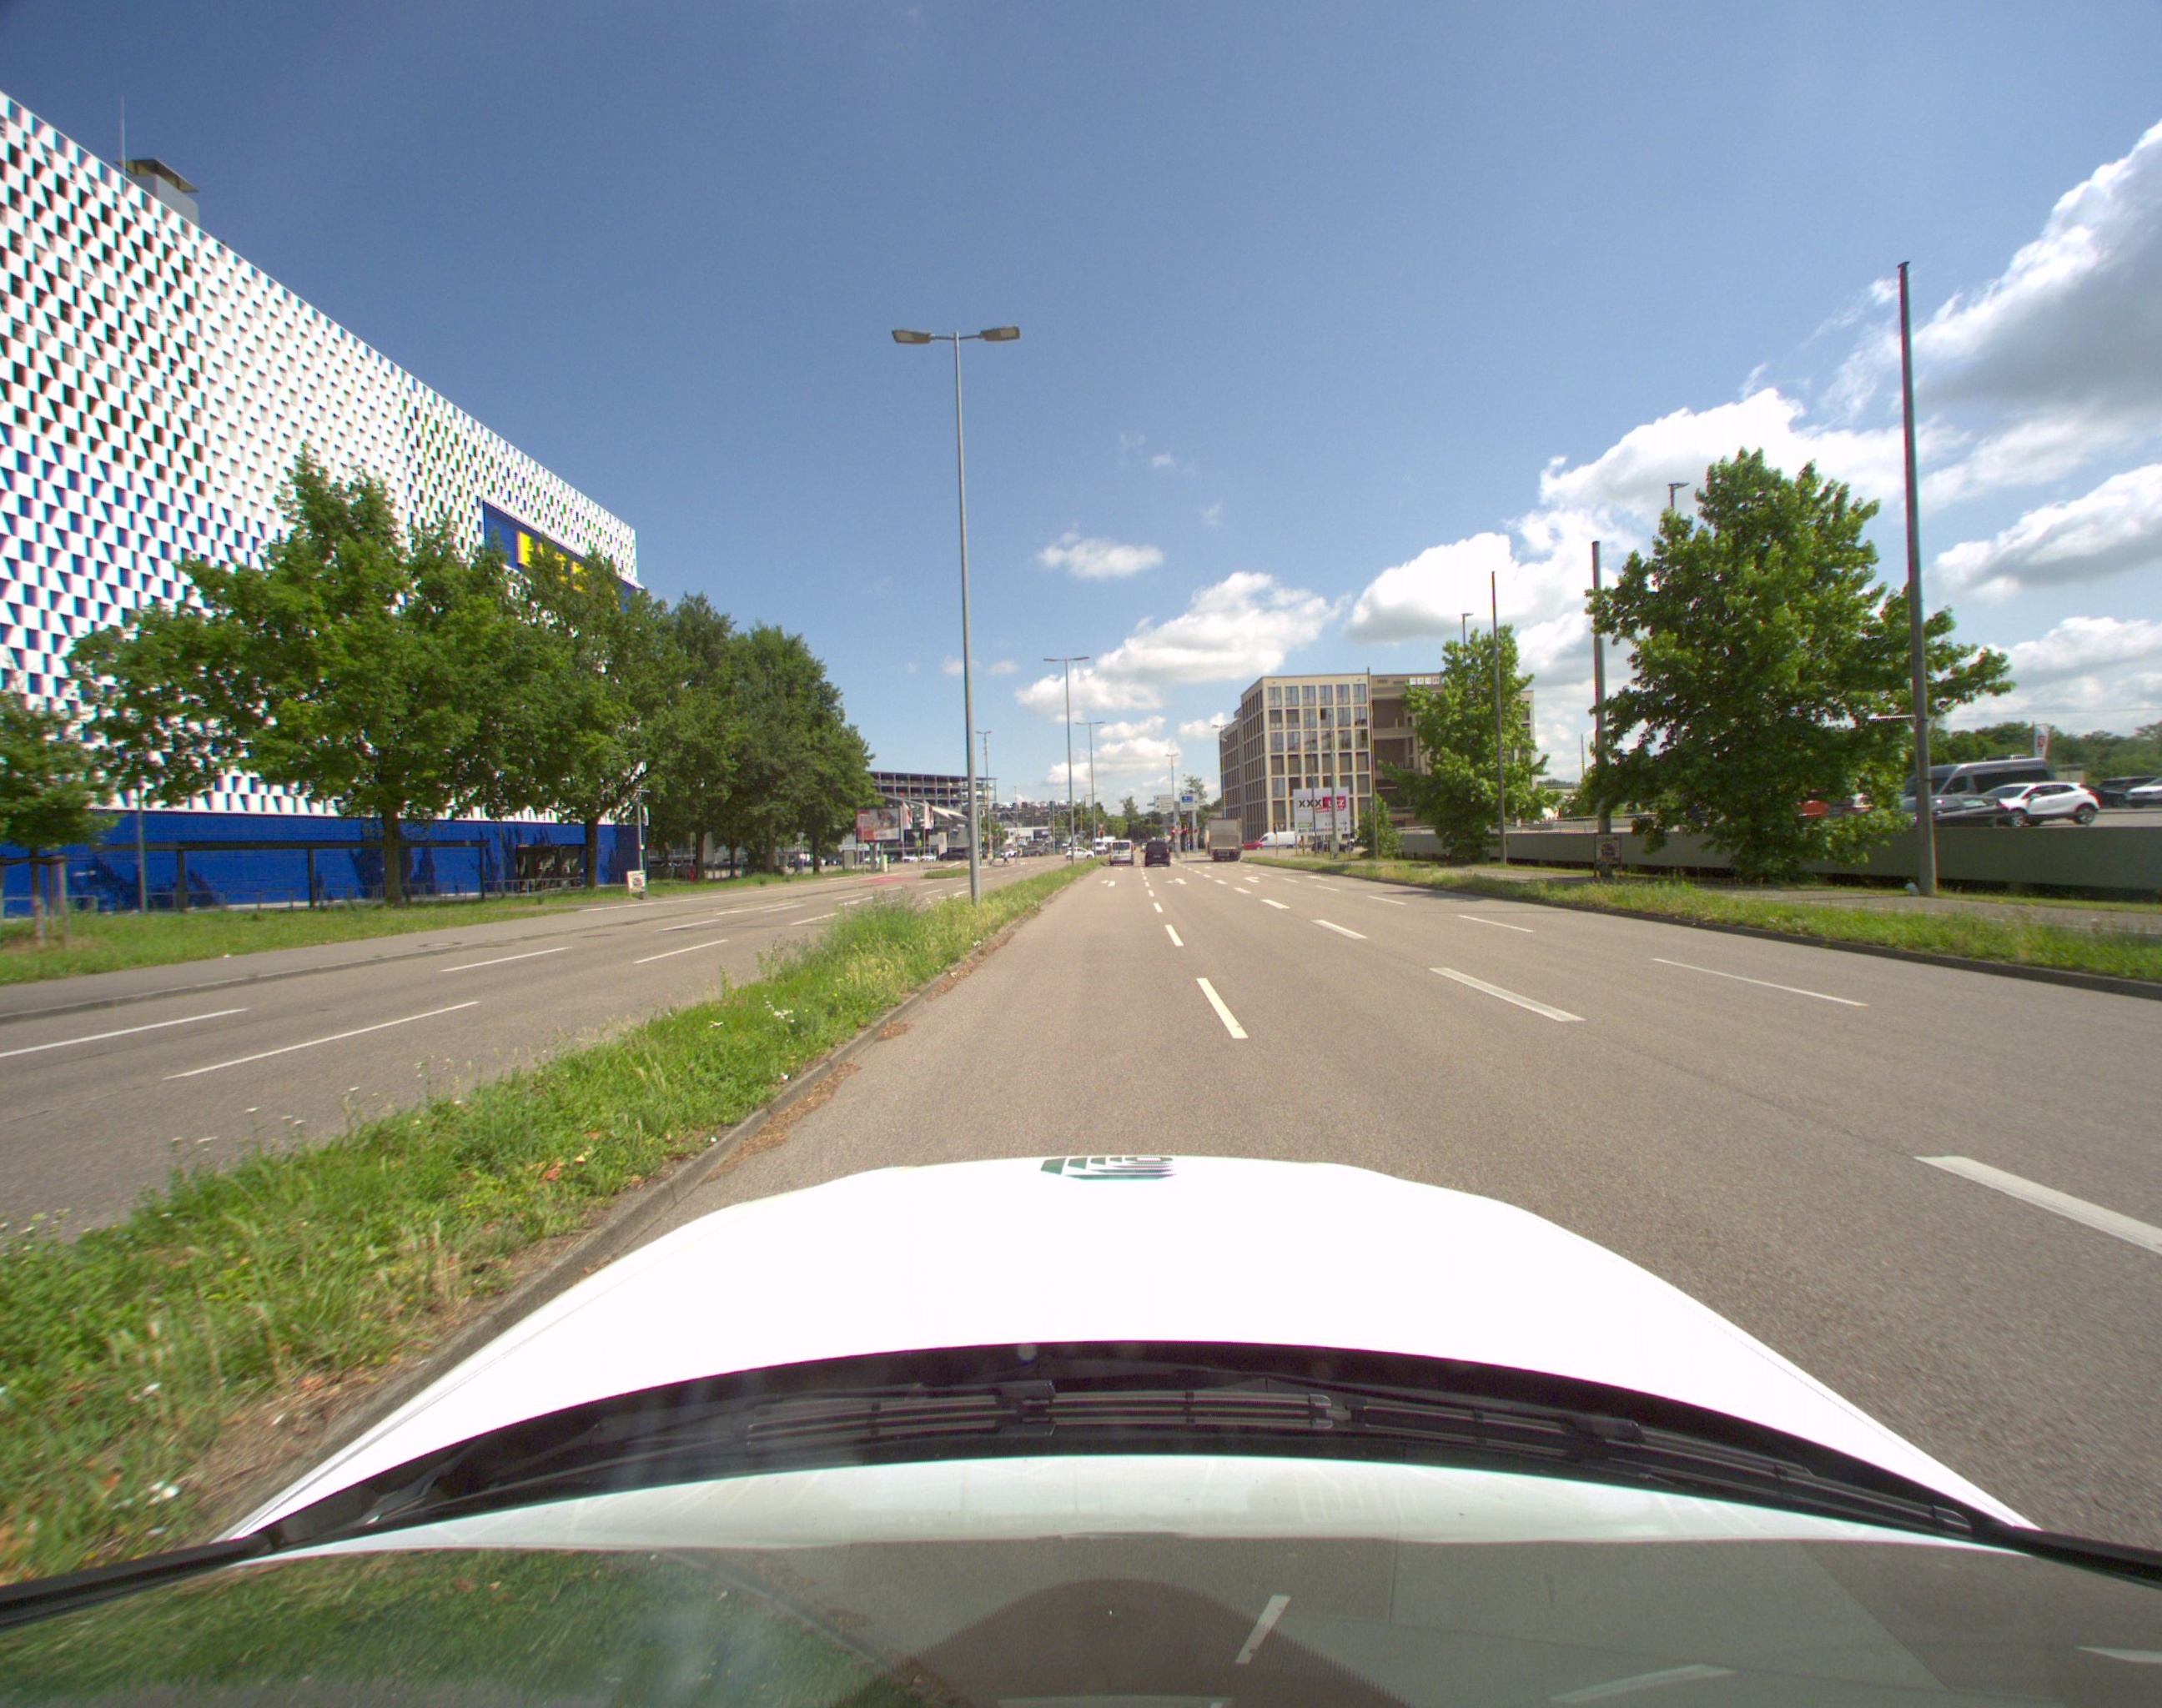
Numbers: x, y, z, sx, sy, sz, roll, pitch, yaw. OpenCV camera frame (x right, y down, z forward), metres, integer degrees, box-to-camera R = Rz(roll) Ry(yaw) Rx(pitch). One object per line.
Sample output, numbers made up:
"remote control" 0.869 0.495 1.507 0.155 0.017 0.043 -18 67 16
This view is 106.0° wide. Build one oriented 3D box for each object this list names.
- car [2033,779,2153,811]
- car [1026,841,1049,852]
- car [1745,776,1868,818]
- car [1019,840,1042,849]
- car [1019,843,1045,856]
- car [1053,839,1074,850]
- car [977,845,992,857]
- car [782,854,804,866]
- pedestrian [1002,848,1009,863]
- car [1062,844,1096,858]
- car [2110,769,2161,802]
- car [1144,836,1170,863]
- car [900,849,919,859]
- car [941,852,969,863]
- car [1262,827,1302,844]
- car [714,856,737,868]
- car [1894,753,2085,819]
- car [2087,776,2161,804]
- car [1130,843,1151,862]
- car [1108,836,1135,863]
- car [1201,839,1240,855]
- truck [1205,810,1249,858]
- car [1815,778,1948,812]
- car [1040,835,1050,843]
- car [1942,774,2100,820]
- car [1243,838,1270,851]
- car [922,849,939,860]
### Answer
"car" 55.782 -3.236 44.959 3.969 1.552 2.002 -1 0 3
"car" -7.133 -1.245 133.920 3.497 1.712 1.603 -4 1 0
"car" 40.796 -3.187 45.900 5.143 2.195 1.987 -1 0 1
"car" -9.546 -1.852 154.203 4.155 1.712 1.687 -1 1 -3
"car" -7.404 -0.690 123.261 3.849 1.639 1.858 -4 1 0
"car" -3.324 -1.800 154.686 3.978 1.925 1.825 -2 0 -3
"car" -14.041 -0.432 118.255 1.819 1.552 3.982 -2 1 -13
"car" -41.030 0.836 116.235 1.832 1.487 3.699 -2 1 -1
"pedestrian" -7.823 0.143 84.371 0.464 1.512 0.515 -1 0 28
"car" -0.276 -0.368 93.037 3.841 1.466 1.694 -2 1 -3
"car" 55.246 -3.494 41.105 3.971 1.543 2.002 -2 1 2
"car" 5.559 -0.348 59.321 1.810 1.808 4.008 -1 1 7
"car" -24.846 -0.007 118.126 1.901 1.375 3.752 -2 1 0
"car" -18.237 0.513 117.867 3.782 1.513 1.678 -2 1 -2
"car" 28.522 -2.637 115.797 5.459 2.254 2.007 -1 1 12
"car" -51.866 1.167 118.810 1.722 1.486 3.701 -2 1 0
"car" 37.397 -2.773 33.628 5.641 2.366 2.061 -2 0 -1
"car" 66.042 -4.018 50.775 3.969 1.552 2.002 -1 0 3
"car" 5.061 -0.121 69.121 1.732 1.543 4.005 -1 0 4
"car" 3.242 -0.410 64.325 1.847 2.018 4.007 -1 2 6
"car" 15.768 -0.798 91.712 4.114 1.503 1.633 -3 1 14
"truck" 13.224 -1.845 73.242 3.107 3.940 8.894 -1 1 15
"car" 40.681 -2.963 41.473 4.852 1.454 1.986 -2 0 -1
"car" -7.740 -3.228 175.532 1.840 1.530 3.999 -2 1 -1
"car" 35.530 -2.132 30.854 3.974 1.514 1.747 -2 0 -1
"car" 23.124 -1.202 107.245 3.261 1.405 1.335 -2 10 1
"car" -21.830 0.046 118.311 1.770 1.450 4.029 -2 1 0
